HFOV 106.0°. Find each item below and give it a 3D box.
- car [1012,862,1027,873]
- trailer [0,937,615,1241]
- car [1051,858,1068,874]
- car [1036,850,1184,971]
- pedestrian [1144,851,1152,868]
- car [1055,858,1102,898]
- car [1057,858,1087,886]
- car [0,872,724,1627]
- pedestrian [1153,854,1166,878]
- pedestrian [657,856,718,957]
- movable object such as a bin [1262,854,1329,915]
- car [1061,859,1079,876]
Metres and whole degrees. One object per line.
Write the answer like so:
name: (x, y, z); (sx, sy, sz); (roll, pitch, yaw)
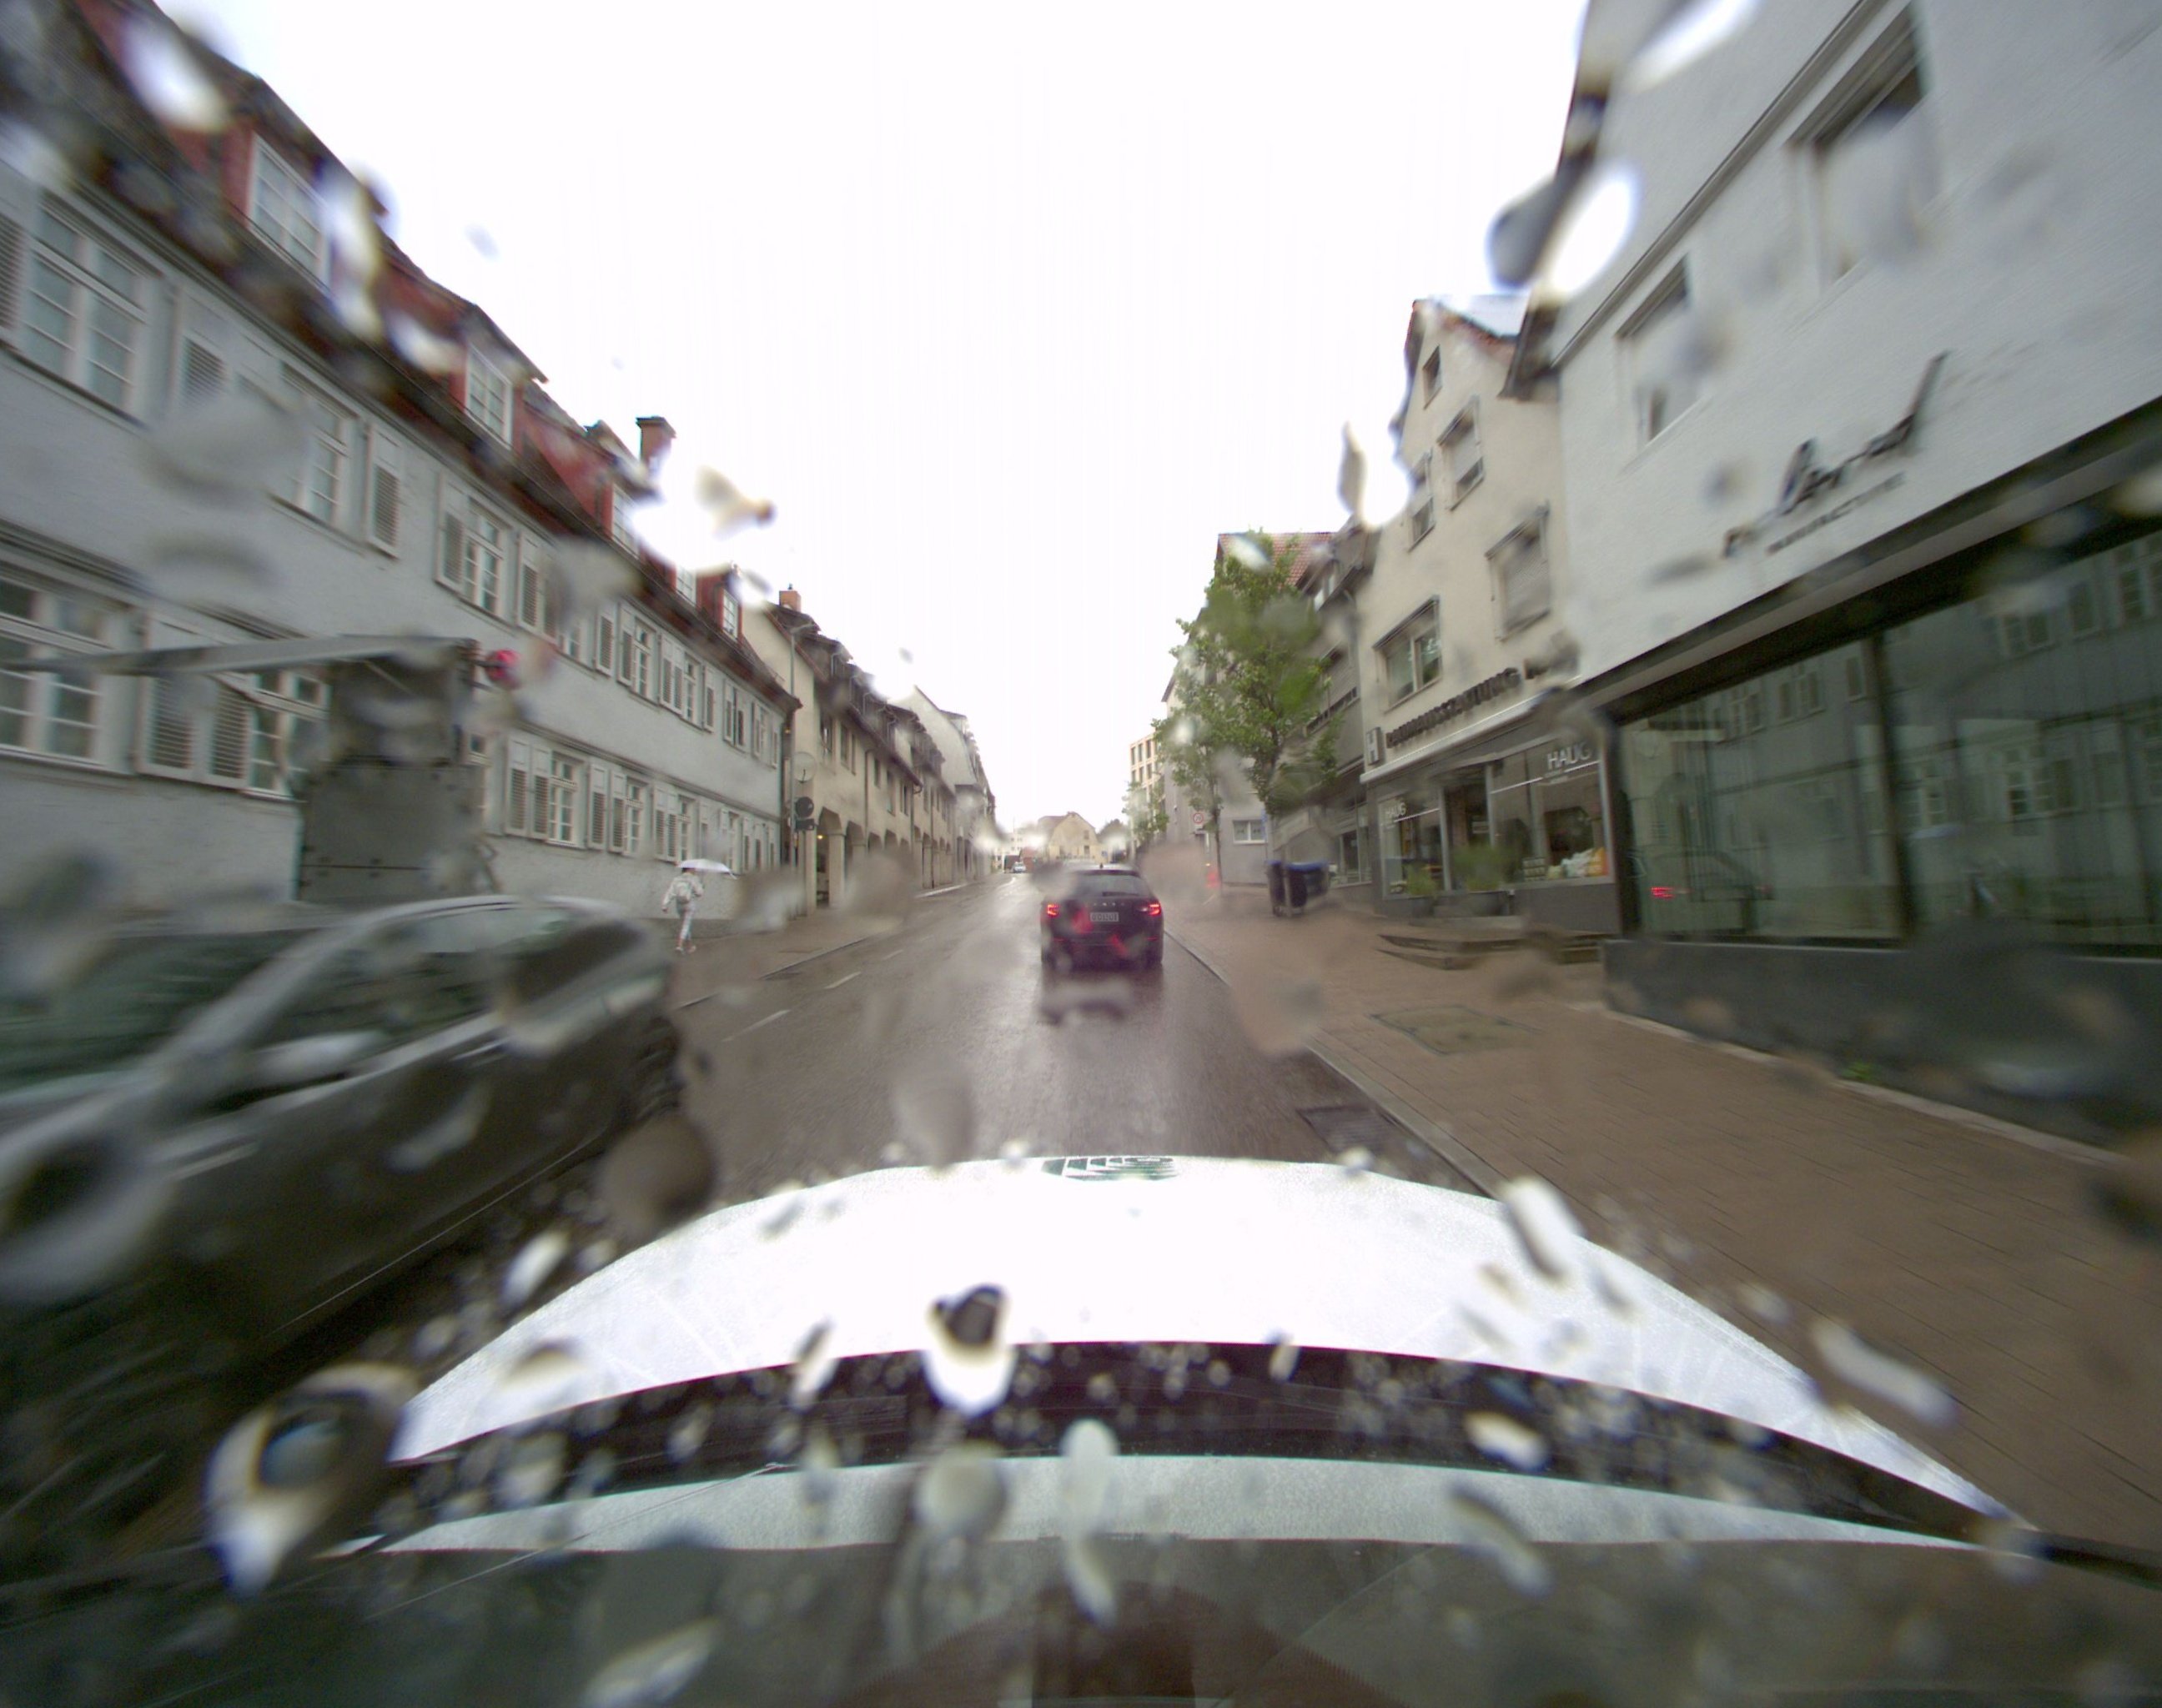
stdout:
car: (-8.847, 1.944, 117.418); (1.669, 1.510, 3.593); (-2, -1, 5)
trailer: (-5.634, 1.259, 5.798); (1.986, 0.905, 4.478); (0, 0, 1)
car: (-2.754, 1.564, 106.508); (1.987, 2.014, 4.000); (-2, -1, 0)
car: (0.485, 0.775, 13.108); (1.937, 1.567, 4.420); (-2, -1, 3)
pedestrian: (7.748, 0.600, 94.507); (0.780, 1.940, 1.020); (-3, -1, -1)
car: (-0.163, 0.942, 33.635); (1.674, 1.510, 3.583); (-2, -1, -4)
car: (-0.570, 1.054, 49.095); (1.676, 1.560, 3.997); (-2, -1, -2)
car: (-3.022, 0.891, 3.108); (1.603, 1.472, 3.586); (-3, 0, 1)
pedestrian: (5.435, 0.824, 56.456); (0.733, 1.542, 1.038); (-5, -1, 1)
pedestrian: (-6.985, 0.913, 14.490); (0.685, 1.740, 0.735); (0, -1, 1)
movable object such as a bin: (5.032, 0.703, 19.203); (1.230, 1.335, 1.172); (-3, 0, 0)
car: (-1.093, 1.298, 79.054); (1.676, 1.560, 3.997); (-2, -1, -2)
